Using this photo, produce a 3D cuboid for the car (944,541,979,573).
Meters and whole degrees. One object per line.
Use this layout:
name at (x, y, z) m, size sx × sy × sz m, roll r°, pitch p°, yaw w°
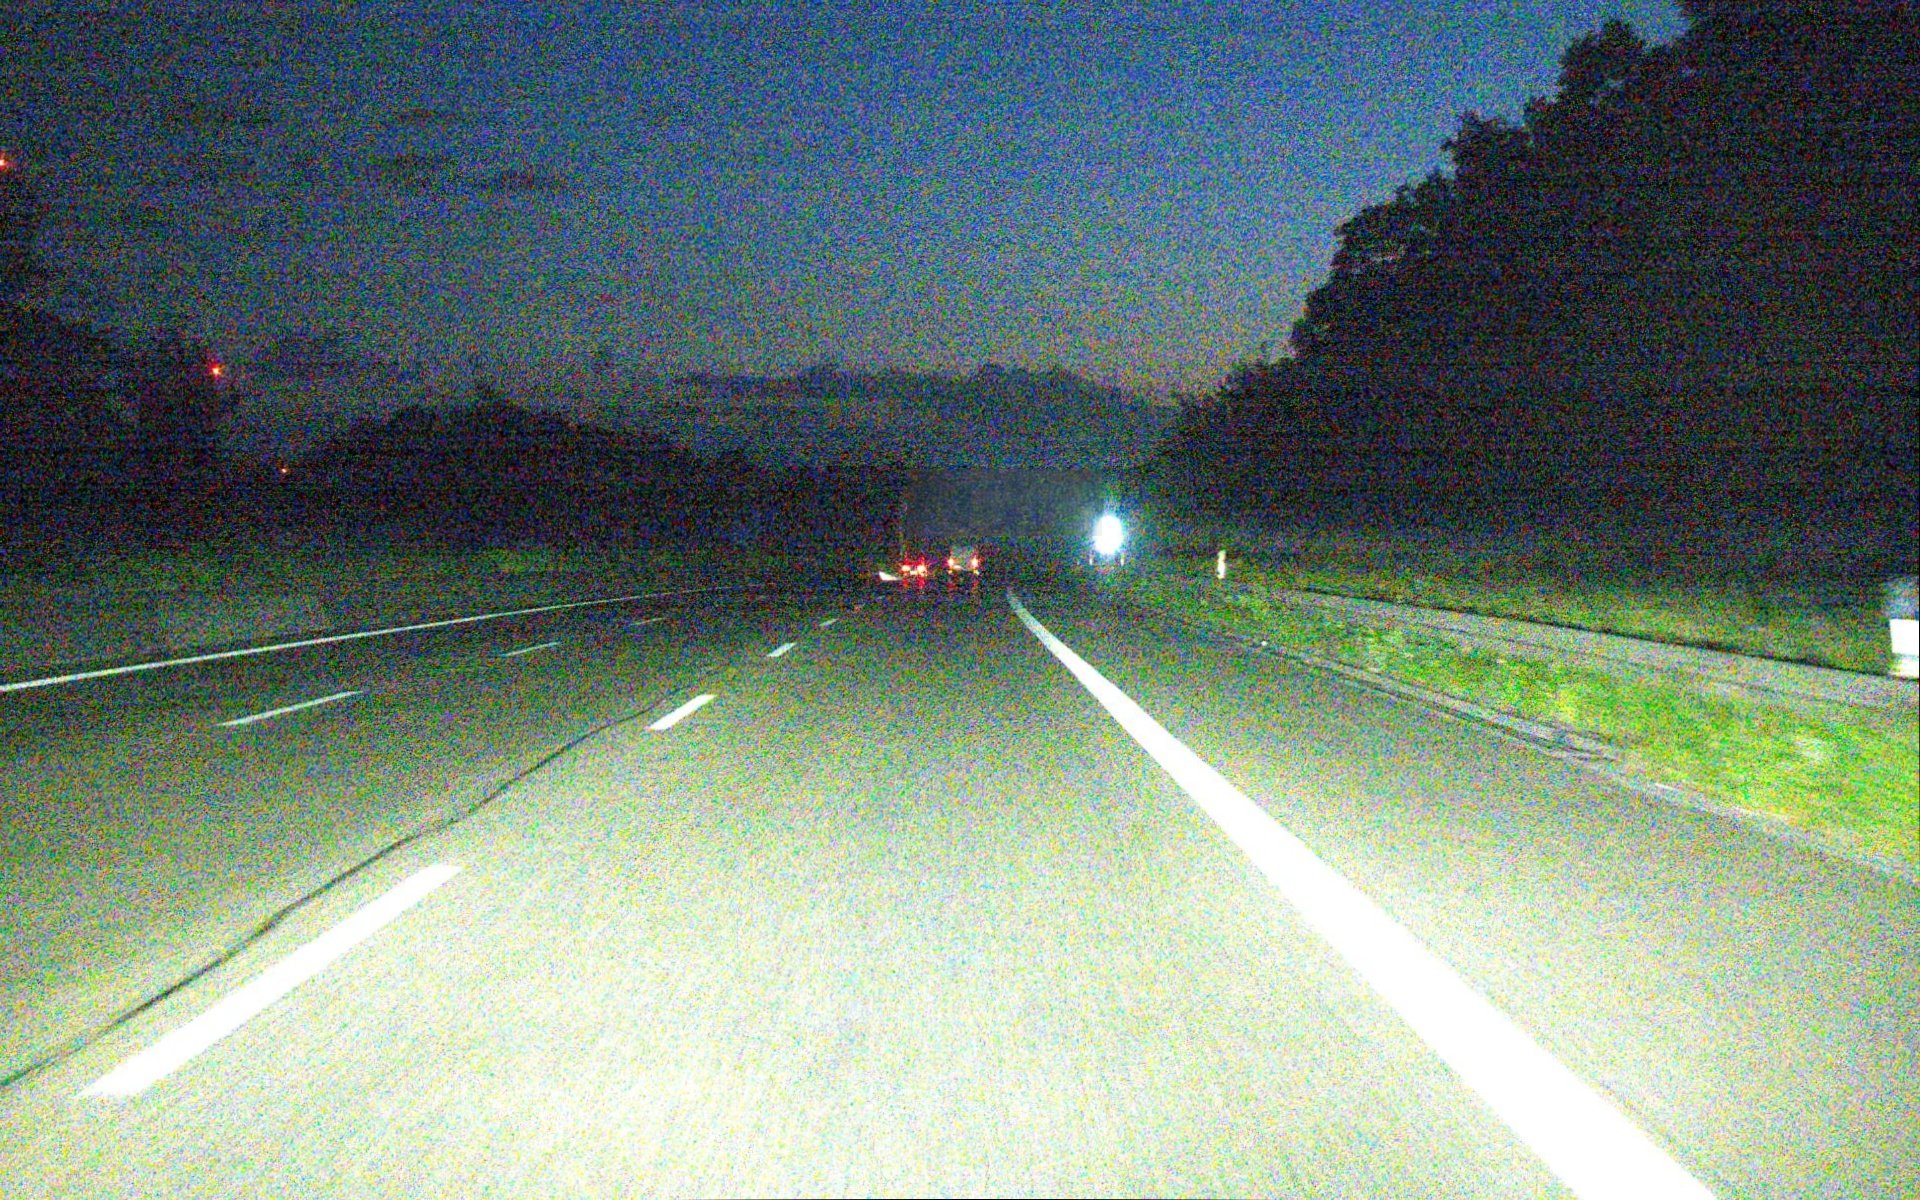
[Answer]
car at (0.125, -3.240, 260.529) m, size 2.511 × 2.306 × 4.970 m, roll 0°, pitch 0°, yaw 1°
